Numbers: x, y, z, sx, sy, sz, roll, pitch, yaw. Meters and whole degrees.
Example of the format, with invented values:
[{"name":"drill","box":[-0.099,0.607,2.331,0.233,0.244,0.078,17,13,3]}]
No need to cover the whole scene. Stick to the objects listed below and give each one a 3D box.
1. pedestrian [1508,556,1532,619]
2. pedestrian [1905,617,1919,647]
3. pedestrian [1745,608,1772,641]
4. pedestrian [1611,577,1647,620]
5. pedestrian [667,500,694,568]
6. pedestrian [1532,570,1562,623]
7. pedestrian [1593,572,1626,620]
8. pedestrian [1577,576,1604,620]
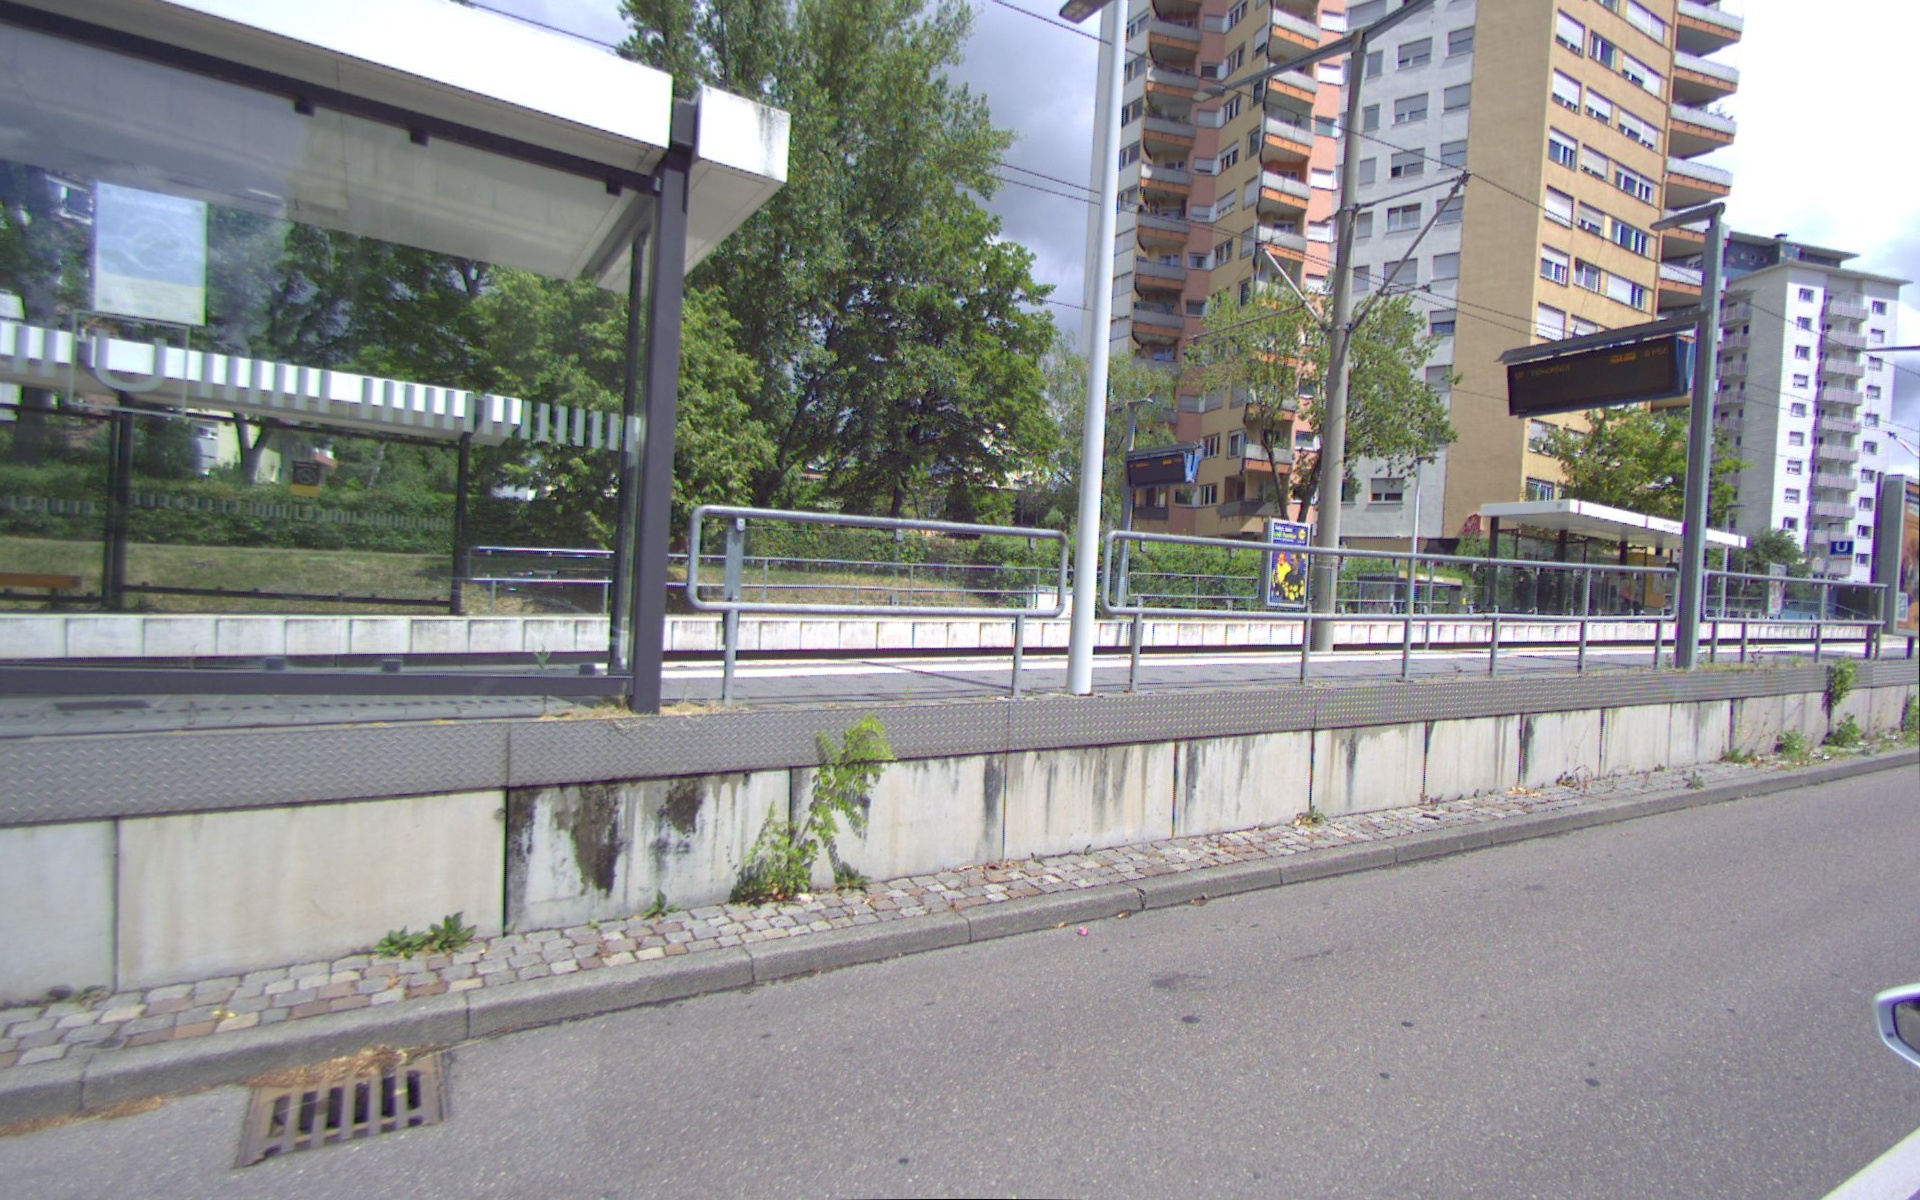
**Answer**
[{"name":"pedestrian","box":[15.192,-0.333,27.240,0.511,1.666,0.564,1,0,26]},{"name":"pedestrian","box":[44.019,1.490,46.181,0.543,1.360,0.669,1,0,10]},{"name":"pedestrian","box":[42.504,1.277,53.461,0.678,1.719,0.857,1,0,-18]},{"name":"pedestrian","box":[19.839,-0.056,29.807,0.512,1.253,0.738,1,0,-31]},{"name":"pedestrian","box":[-7.433,-1.742,26.726,0.499,1.735,0.647,1,0,-32]},{"name":"pedestrian","box":[16.076,-0.095,27.524,0.517,1.397,0.537,4,-2,-41]},{"name":"pedestrian","box":[19.049,-0.122,29.456,0.501,1.387,0.640,1,0,-31]},{"name":"pedestrian","box":[18.145,-0.062,28.905,0.539,1.253,0.514,1,0,-44]}]
